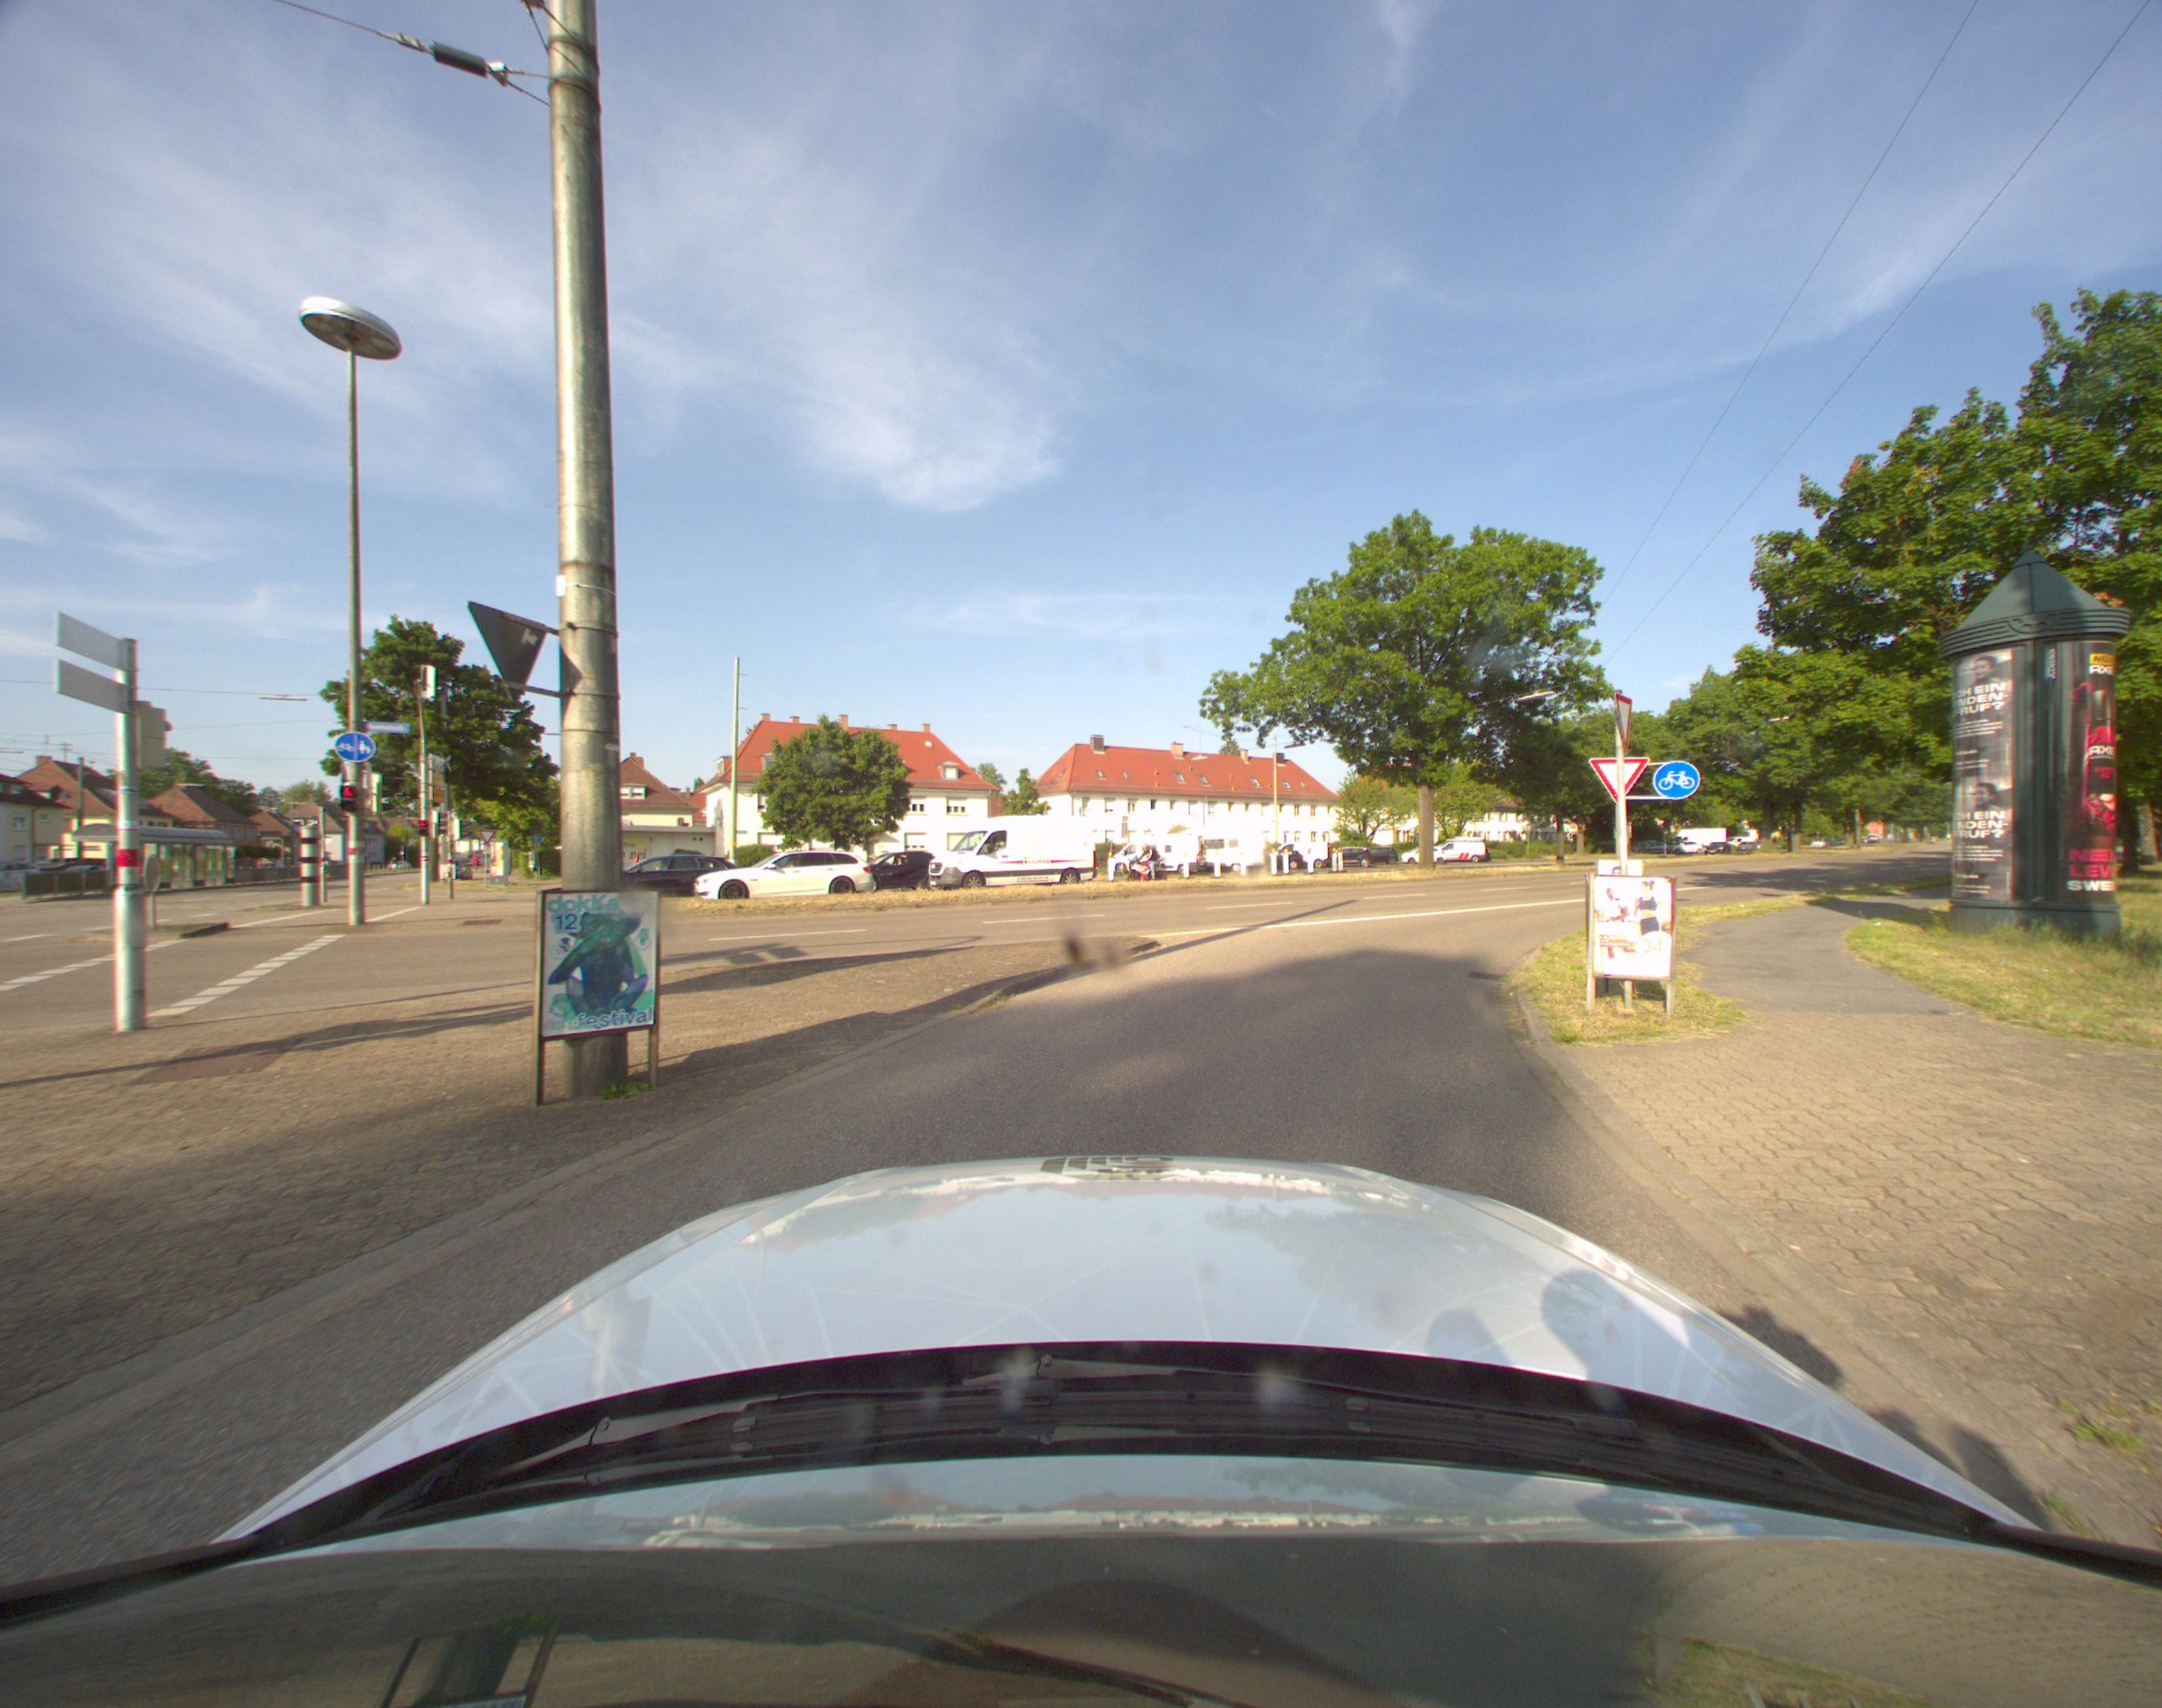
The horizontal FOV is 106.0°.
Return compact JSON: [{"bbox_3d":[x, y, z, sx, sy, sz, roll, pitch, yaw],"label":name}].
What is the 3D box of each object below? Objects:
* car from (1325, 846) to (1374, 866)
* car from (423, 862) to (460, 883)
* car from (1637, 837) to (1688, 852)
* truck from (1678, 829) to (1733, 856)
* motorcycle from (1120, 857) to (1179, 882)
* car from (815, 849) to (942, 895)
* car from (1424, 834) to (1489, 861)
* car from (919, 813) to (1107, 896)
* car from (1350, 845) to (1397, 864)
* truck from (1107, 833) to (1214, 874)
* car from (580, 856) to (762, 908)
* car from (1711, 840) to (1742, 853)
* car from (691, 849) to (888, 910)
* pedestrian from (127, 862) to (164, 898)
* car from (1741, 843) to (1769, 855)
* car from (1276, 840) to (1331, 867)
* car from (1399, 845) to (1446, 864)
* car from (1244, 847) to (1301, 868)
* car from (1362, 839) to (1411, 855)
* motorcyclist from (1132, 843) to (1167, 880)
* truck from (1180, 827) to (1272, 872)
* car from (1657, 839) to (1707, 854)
[{"bbox_3d":[20.665,0.148,62.820,3.463,1.514,1.903,-1,0,14],"label":"car"},{"bbox_3d":[-44.499,1.270,56.717,1.686,1.398,3.958,1,-2,-33],"label":"car"},{"bbox_3d":[69.307,-1.140,97.172,4.495,1.723,2.007,-1,0,12],"label":"car"},{"bbox_3d":[82.054,-1.511,107.005,5.460,3.465,2.003,-1,0,5],"label":"truck"},{"bbox_3d":[2.556,0.581,30.303,2.288,0.866,0.683,-1,0,-35],"label":"motorcycle"},{"bbox_3d":[-7.112,0.596,28.758,4.015,1.453,1.698,-1,0,-34],"label":"car"},{"bbox_3d":[33.404,-0.552,72.536,4.932,2.232,2.006,-1,0,10],"label":"car"},{"bbox_3d":[-2.228,-0.006,28.021,6.253,2.583,1.979,-1,0,-34],"label":"car"},{"bbox_3d":[24.143,0.054,67.326,3.397,1.514,1.903,-1,0,14],"label":"car"},{"bbox_3d":[5.004,-0.027,51.344,6.283,2.524,2.289,0,0,21],"label":"truck"},{"bbox_3d":[-12.606,0.804,25.190,4.858,1.411,1.698,-1,0,-34],"label":"car"},{"bbox_3d":[70.773,-0.860,89.295,4.019,1.353,1.696,-1,0,-38],"label":"car"},{"bbox_3d":[-8.422,0.679,23.731,5.131,1.563,1.821,-1,0,-34],"label":"car"},{"bbox_3d":[-39.347,1.098,34.259,0.758,1.499,0.819,1,-2,-32],"label":"pedestrian"},{"bbox_3d":[92.888,-0.685,112.147,4.297,1.451,1.896,1,-2,-35],"label":"car"},{"bbox_3d":[16.709,-0.004,61.328,3.872,1.920,1.901,-1,0,10],"label":"car"},{"bbox_3d":[28.824,0.046,68.815,3.397,1.514,1.903,-1,0,14],"label":"car"},{"bbox_3d":[13.948,0.269,59.487,3.876,1.456,1.900,-1,0,7],"label":"car"},{"bbox_3d":[34.336,-0.794,91.568,2.008,1.719,4.926,-1,0,-35],"label":"car"},{"bbox_3d":[2.551,0.281,30.298,1.073,1.352,0.672,-1,0,-35],"label":"motorcyclist"},{"bbox_3d":[9.832,-0.280,55.290,6.022,2.854,1.901,-1,0,9],"label":"truck"},{"bbox_3d":[73.746,-0.908,99.960,4.495,1.723,2.007,-1,0,12],"label":"car"}]
